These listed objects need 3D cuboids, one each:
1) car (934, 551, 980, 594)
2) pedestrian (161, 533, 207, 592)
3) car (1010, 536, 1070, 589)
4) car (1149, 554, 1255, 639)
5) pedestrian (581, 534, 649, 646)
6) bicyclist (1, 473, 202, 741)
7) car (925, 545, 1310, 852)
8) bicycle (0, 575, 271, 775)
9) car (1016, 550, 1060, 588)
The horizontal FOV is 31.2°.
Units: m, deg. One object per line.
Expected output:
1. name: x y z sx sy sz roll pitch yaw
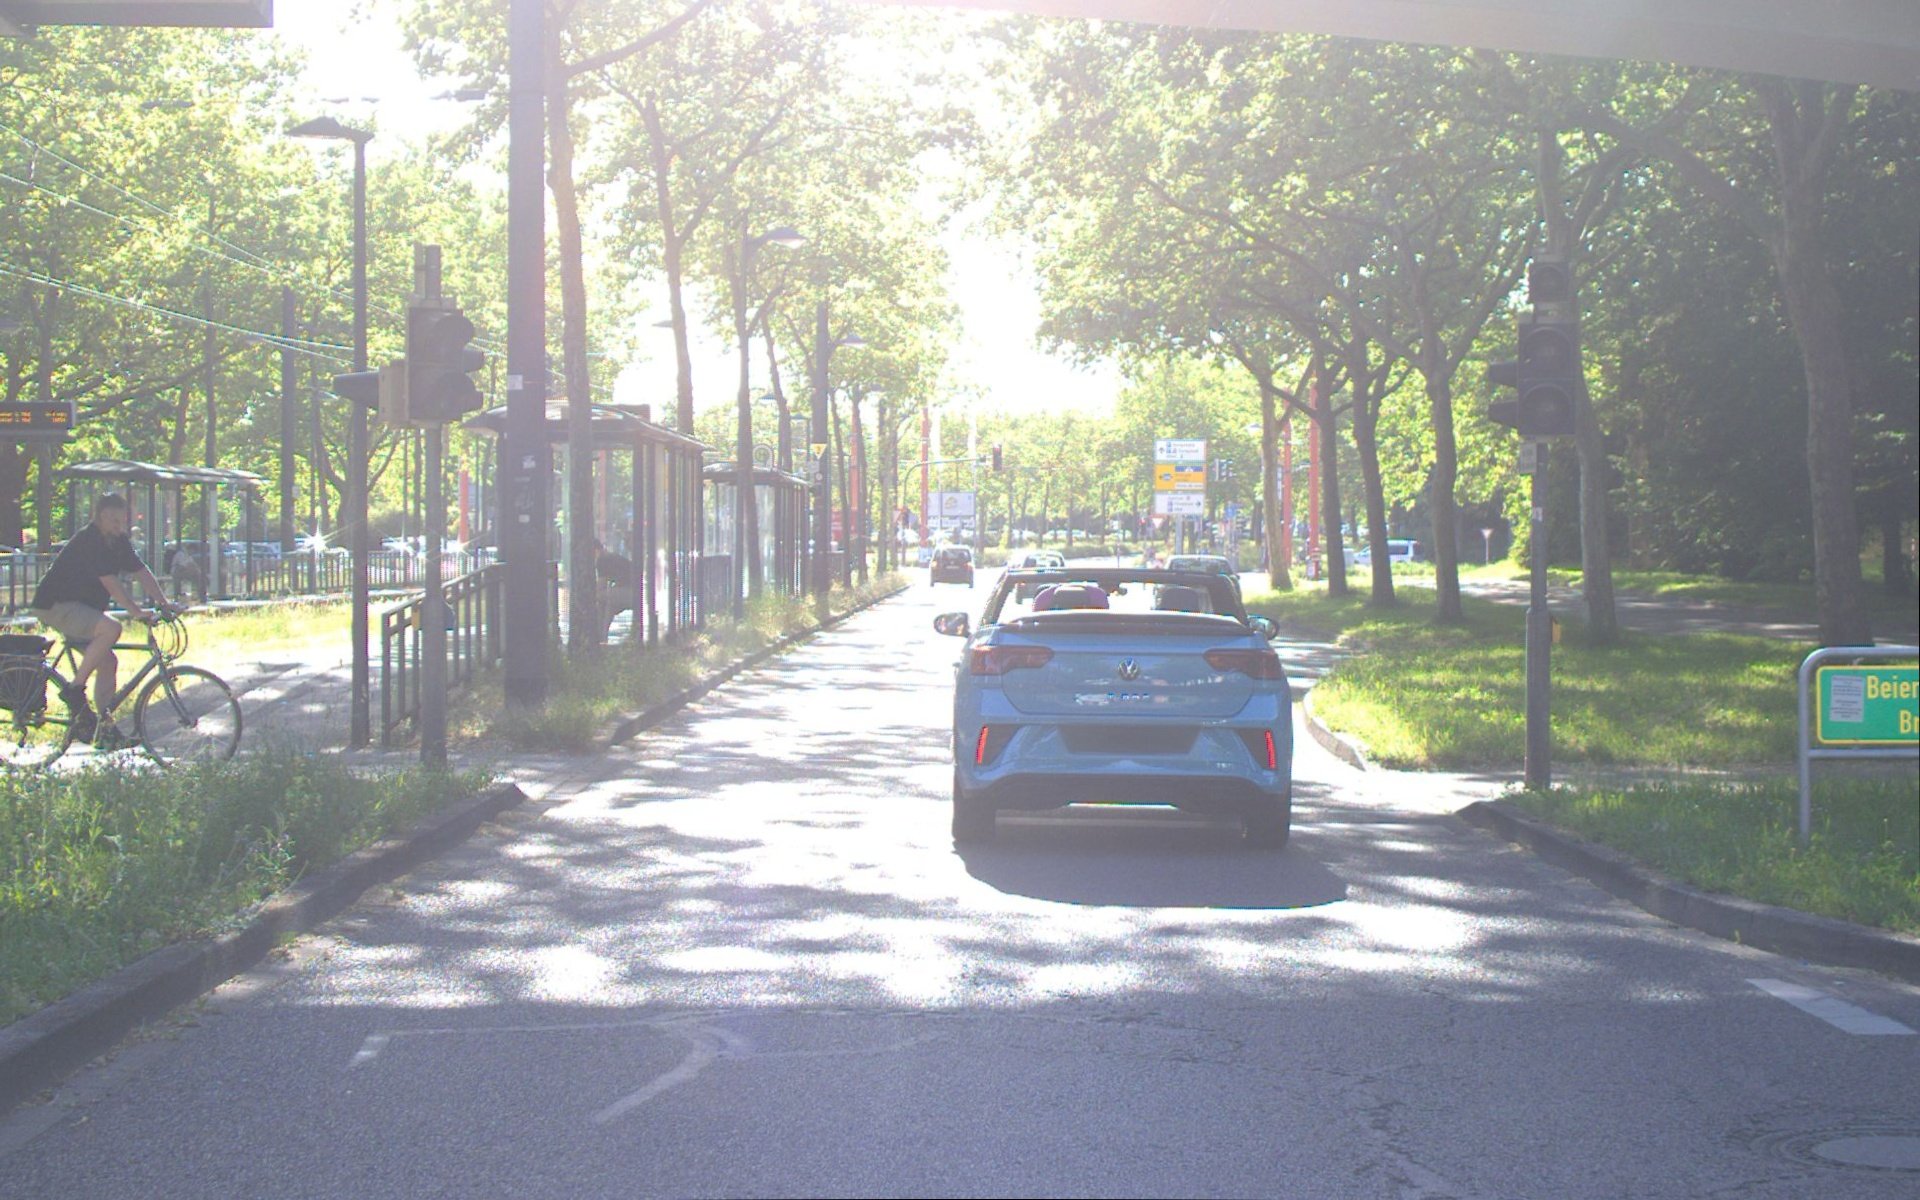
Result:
1. car: -0.133 -1.076 132.955 1.710 1.598 3.350 1 0 -1
2. pedestrian: -15.170 -0.738 67.255 0.694 1.123 0.662 -2 0 1
3. car: 2.405 -1.140 103.880 1.639 1.489 3.503 2 1 -1
4. car: 5.246 -0.095 75.055 1.982 1.786 4.614 0 0 0
5. pedestrian: -3.927 -0.117 39.167 0.733 1.248 0.588 2 0 -6
6. bicyclist: -5.417 0.032 21.737 0.954 1.626 0.815 2 2 6
7. car: 0.770 0.463 19.296 1.775 1.478 4.101 1 1 -2
8. bicycle: -5.394 0.458 21.738 1.831 1.143 0.815 3 2 7
9. car: 3.074 -1.224 136.551 1.678 1.470 4.130 2 0 1
